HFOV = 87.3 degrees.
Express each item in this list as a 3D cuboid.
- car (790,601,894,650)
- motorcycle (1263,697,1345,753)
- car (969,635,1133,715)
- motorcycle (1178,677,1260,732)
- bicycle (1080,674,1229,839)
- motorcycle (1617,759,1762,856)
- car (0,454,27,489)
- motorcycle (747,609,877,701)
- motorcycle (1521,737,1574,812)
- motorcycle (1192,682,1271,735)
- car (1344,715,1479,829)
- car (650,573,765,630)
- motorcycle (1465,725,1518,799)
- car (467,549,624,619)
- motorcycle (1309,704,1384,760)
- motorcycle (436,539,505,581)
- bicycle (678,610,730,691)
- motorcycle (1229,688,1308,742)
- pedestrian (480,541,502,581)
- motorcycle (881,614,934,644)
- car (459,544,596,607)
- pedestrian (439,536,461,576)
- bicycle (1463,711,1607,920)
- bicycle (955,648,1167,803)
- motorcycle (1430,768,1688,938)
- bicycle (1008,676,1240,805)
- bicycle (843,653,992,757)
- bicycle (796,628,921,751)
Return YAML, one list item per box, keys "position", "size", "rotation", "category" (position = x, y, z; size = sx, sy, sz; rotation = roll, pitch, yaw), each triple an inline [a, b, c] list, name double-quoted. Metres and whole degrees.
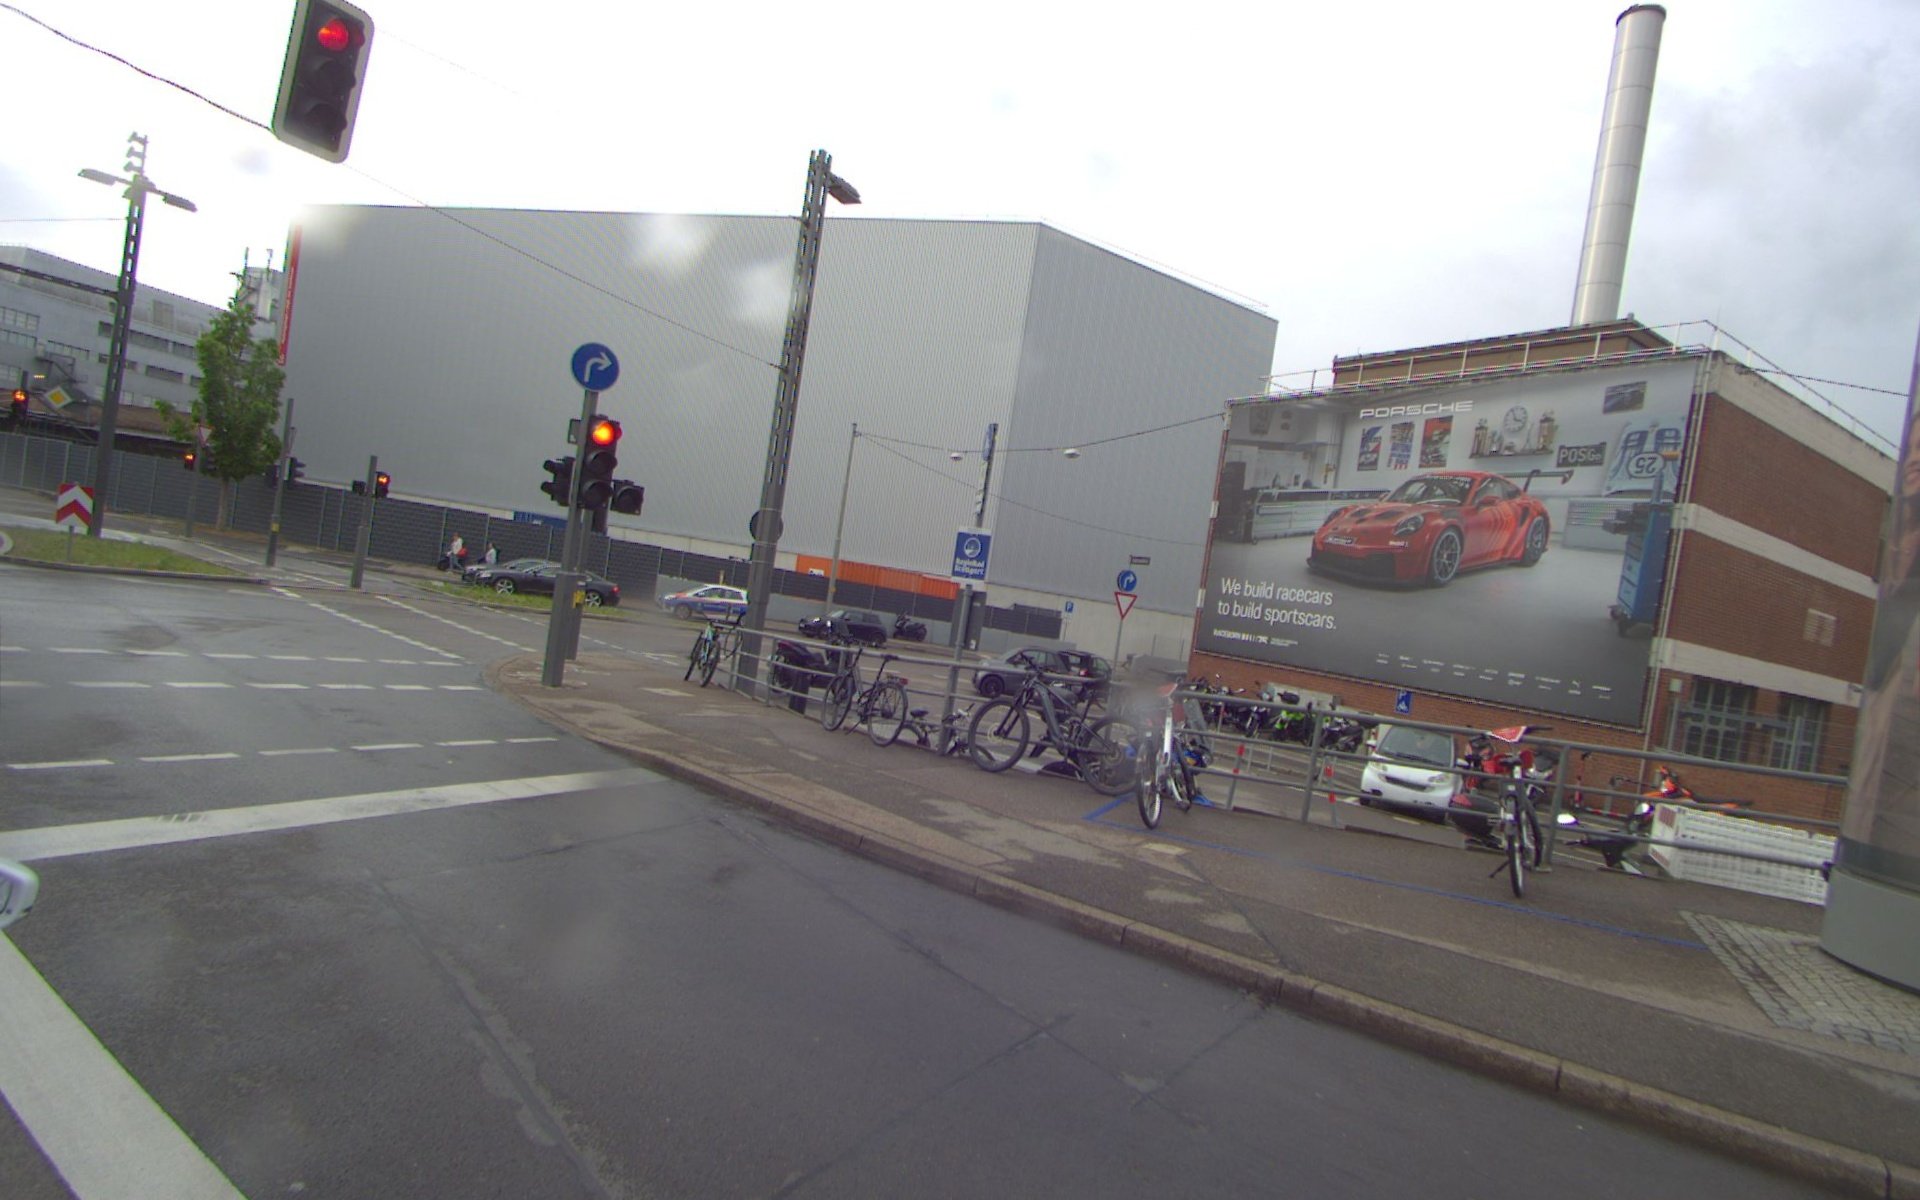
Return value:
- position: [-5.045, 1.090, 43.163]
  size: [3.958, 1.408, 1.744]
  rotation: [10, -1, -29]
  category: "car"
- position: [8.576, 3.114, 25.074]
  size: [1.999, 1.206, 0.605]
  rotation: [6, 3, -29]
  category: "motorcycle"
- position: [2.418, 2.016, 27.457]
  size: [4.091, 1.547, 1.836]
  rotation: [8, -2, -3]
  category: "car"
- position: [7.265, 2.925, 28.235]
  size: [1.987, 1.206, 0.608]
  rotation: [7, 3, -4]
  category: "motorcycle"
- position: [1.675, 1.237, 8.426]
  size: [0.666, 1.154, 1.774]
  rotation: [6, -1, 27]
  category: "bicycle"
- position: [14.128, 3.979, 19.530]
  size: [0.922, 1.327, 1.961]
  rotation: [5, 4, -41]
  category: "motorcycle"
- position: [-60.338, -8.182, 61.949]
  size: [1.969, 1.993, 4.880]
  rotation: [7, 0, -14]
  category: "car"
- position: [-2.660, 1.031, 18.375]
  size: [0.746, 1.469, 2.225]
  rotation: [8, -1, 42]
  category: "motorcycle"
- position: [12.528, 3.679, 21.423]
  size: [0.564, 1.327, 1.863]
  rotation: [10, 3, 37]
  category: "motorcycle"
- position: [7.311, 2.925, 27.071]
  size: [1.998, 1.206, 0.605]
  rotation: [6, 3, -27]
  category: "motorcycle"
- position: [8.440, 3.070, 18.632]
  size: [1.665, 1.499, 3.555]
  rotation: [10, 1, 31]
  category: "car"
- position: [-10.086, 0.077, 40.190]
  size: [3.939, 1.620, 1.898]
  rotation: [10, -1, -29]
  category: "car"
- position: [11.693, 3.527, 22.106]
  size: [0.677, 1.327, 2.016]
  rotation: [9, 3, 33]
  category: "motorcycle"
- position: [-13.773, -0.529, 33.497]
  size: [4.536, 1.557, 1.744]
  rotation: [10, -1, -29]
  category: "car"
- position: [9.333, 3.184, 24.279]
  size: [2.005, 1.206, 0.603]
  rotation: [6, 3, -38]
  category: "motorcycle"
- position: [-19.738, -1.611, 40.590]
  size: [2.335, 1.360, 0.648]
  rotation: [8, 0, -30]
  category: "motorcycle"
- position: [-4.092, 0.779, 16.015]
  size: [0.381, 1.111, 1.740]
  rotation: [6, 0, -25]
  category: "bicycle"
- position: [8.009, 2.986, 26.094]
  size: [1.999, 1.206, 0.605]
  rotation: [6, 3, -29]
  category: "motorcycle"
- position: [-18.474, -1.534, 39.625]
  size: [0.642, 1.499, 0.436]
  rotation: [7, 0, -25]
  category: "pedestrian"
- position: [-2.699, 1.470, 51.712]
  size: [2.471, 1.200, 0.991]
  rotation: [8, -1, -34]
  category: "motorcycle"
- position: [-15.596, -0.879, 36.309]
  size: [4.254, 1.557, 1.744]
  rotation: [10, -1, -29]
  category: "car"
- position: [-20.015, -1.729, 39.483]
  size: [0.605, 1.499, 0.421]
  rotation: [7, 0, -23]
  category: "pedestrian"
- position: [4.166, 1.487, 7.405]
  size: [0.581, 1.176, 1.805]
  rotation: [6, 0, 23]
  category: "bicycle"
- position: [0.927, 1.156, 9.643]
  size: [1.969, 1.176, 0.385]
  rotation: [6, 0, 35]
  category: "bicycle"
- position: [5.128, 2.147, 8.745]
  size: [1.718, 1.002, 0.699]
  rotation: [8, 0, 21]
  category: "motorcycle"
- position: [1.631, 1.374, 10.191]
  size: [2.138, 0.916, 0.693]
  rotation: [6, -1, 32]
  category: "bicycle"
- position: [-0.522, 1.178, 11.508]
  size: [1.789, 0.916, 0.530]
  rotation: [6, -1, 44]
  category: "bicycle"
- position: [-1.169, 0.973, 11.261]
  size: [0.383, 1.133, 1.731]
  rotation: [6, 0, -39]
  category: "bicycle"
